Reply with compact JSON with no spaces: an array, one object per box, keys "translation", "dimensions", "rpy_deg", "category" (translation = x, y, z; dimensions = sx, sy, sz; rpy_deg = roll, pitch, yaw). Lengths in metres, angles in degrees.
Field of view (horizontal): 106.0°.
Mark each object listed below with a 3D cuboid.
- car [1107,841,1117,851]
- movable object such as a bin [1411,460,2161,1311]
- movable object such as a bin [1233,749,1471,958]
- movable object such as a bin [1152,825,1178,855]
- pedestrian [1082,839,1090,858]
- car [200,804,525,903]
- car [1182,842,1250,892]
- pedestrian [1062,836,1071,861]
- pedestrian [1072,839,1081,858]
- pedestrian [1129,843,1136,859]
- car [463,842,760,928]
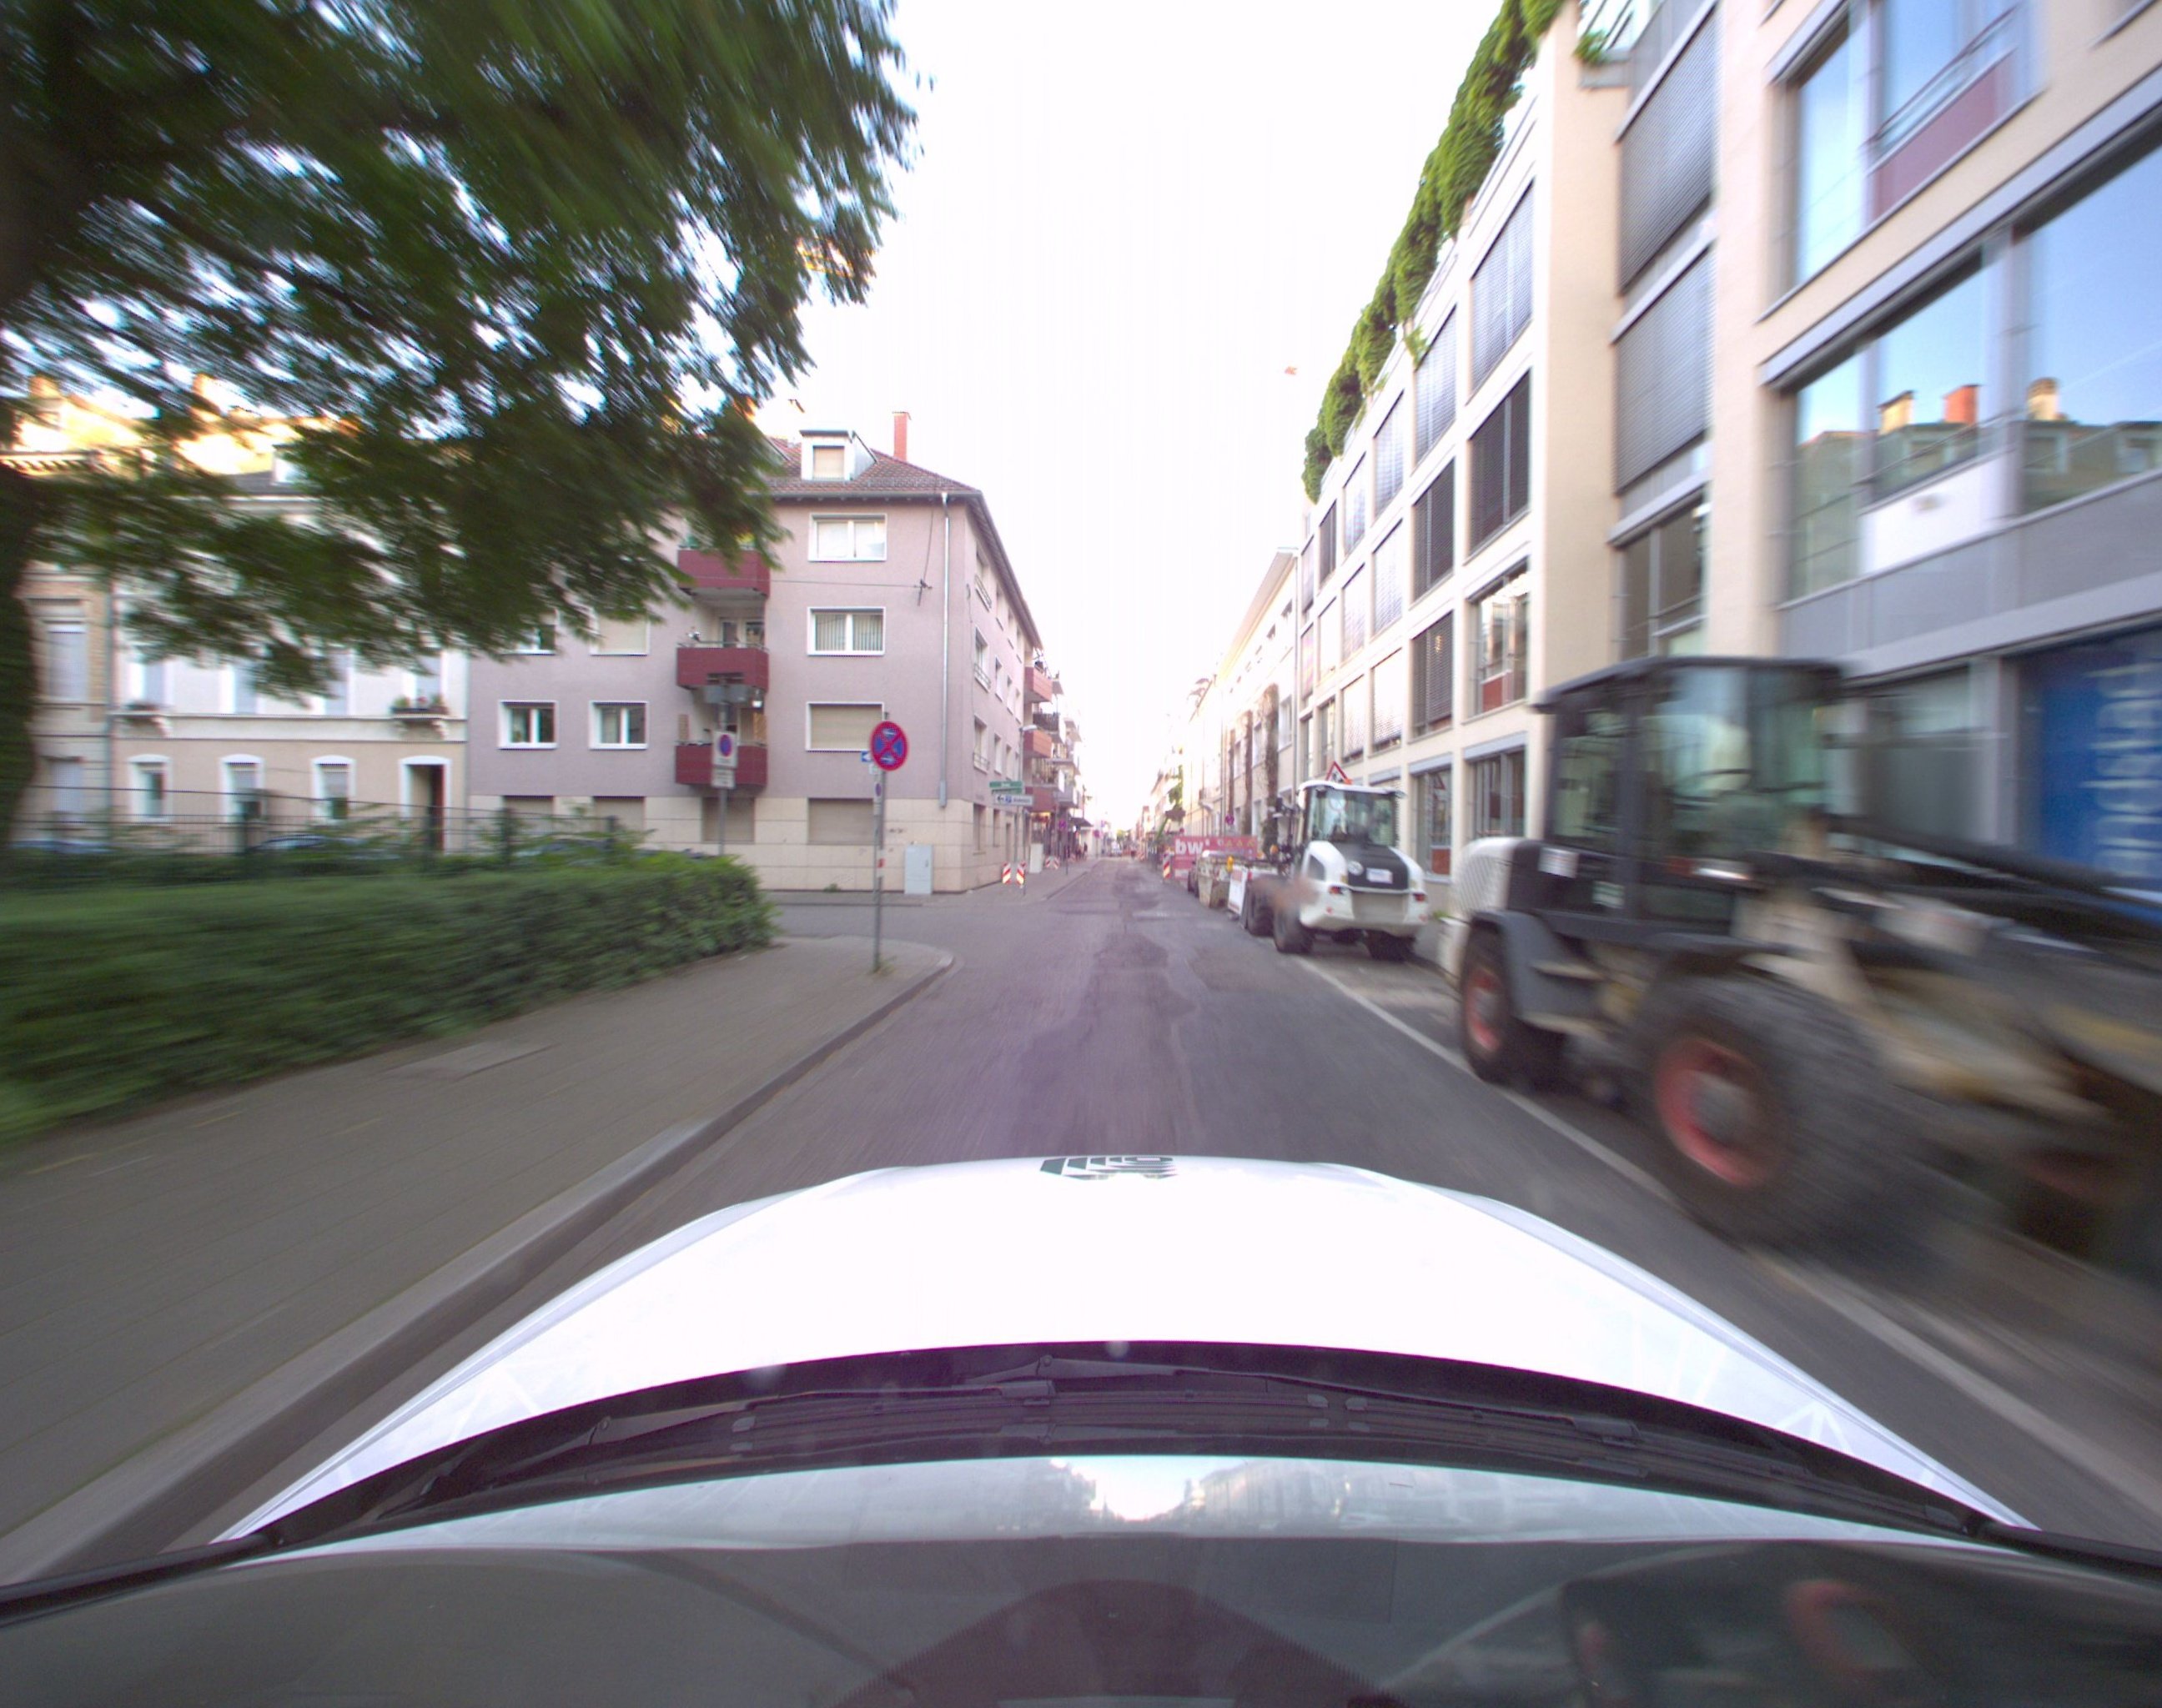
[{"translation":[4.519,-1.208,118.834],"dimensions":[1.468,1.398,3.335],"rpy_deg":[0,1,3],"category":"car"},{"translation":[3.442,0.066,4.574],"dimensions":[1.788,2.634,4.116],"rpy_deg":[0,1,5],"category":"movable object such as a bin"},{"translation":[3.902,-0.059,12.959],"dimensions":[2.157,2.596,5.547],"rpy_deg":[1,1,3],"category":"movable object such as a bin"},{"translation":[8.902,-1.528,87.024],"dimensions":[2.460,3.130,4.301],"rpy_deg":[1,2,3],"category":"movable object such as a bin"},{"translation":[0.498,-0.530,78.182],"dimensions":[0.568,1.886,0.659],"rpy_deg":[0,0,16],"category":"pedestrian"},{"translation":[-12.852,-0.038,14.739],"dimensions":[4.350,1.640,1.831],"rpy_deg":[0,1,4],"category":"car"},{"translation":[4.264,0.357,26.307],"dimensions":[1.686,1.406,4.483],"rpy_deg":[1,1,3],"category":"car"},{"translation":[-1.066,-0.429,59.066],"dimensions":[0.626,1.808,0.648],"rpy_deg":[0,1,4],"category":"pedestrian"},{"translation":[-0.381,-0.457,68.889],"dimensions":[0.646,1.564,0.628],"rpy_deg":[0,2,-12],"category":"pedestrian"},{"translation":[5.609,-0.333,88.612],"dimensions":[0.717,1.740,0.647],"rpy_deg":[0,1,0],"category":"pedestrian"},{"translation":[-8.286,0.513,14.640],"dimensions":[4.329,1.458,1.687],"rpy_deg":[0,1,1],"category":"car"}]
